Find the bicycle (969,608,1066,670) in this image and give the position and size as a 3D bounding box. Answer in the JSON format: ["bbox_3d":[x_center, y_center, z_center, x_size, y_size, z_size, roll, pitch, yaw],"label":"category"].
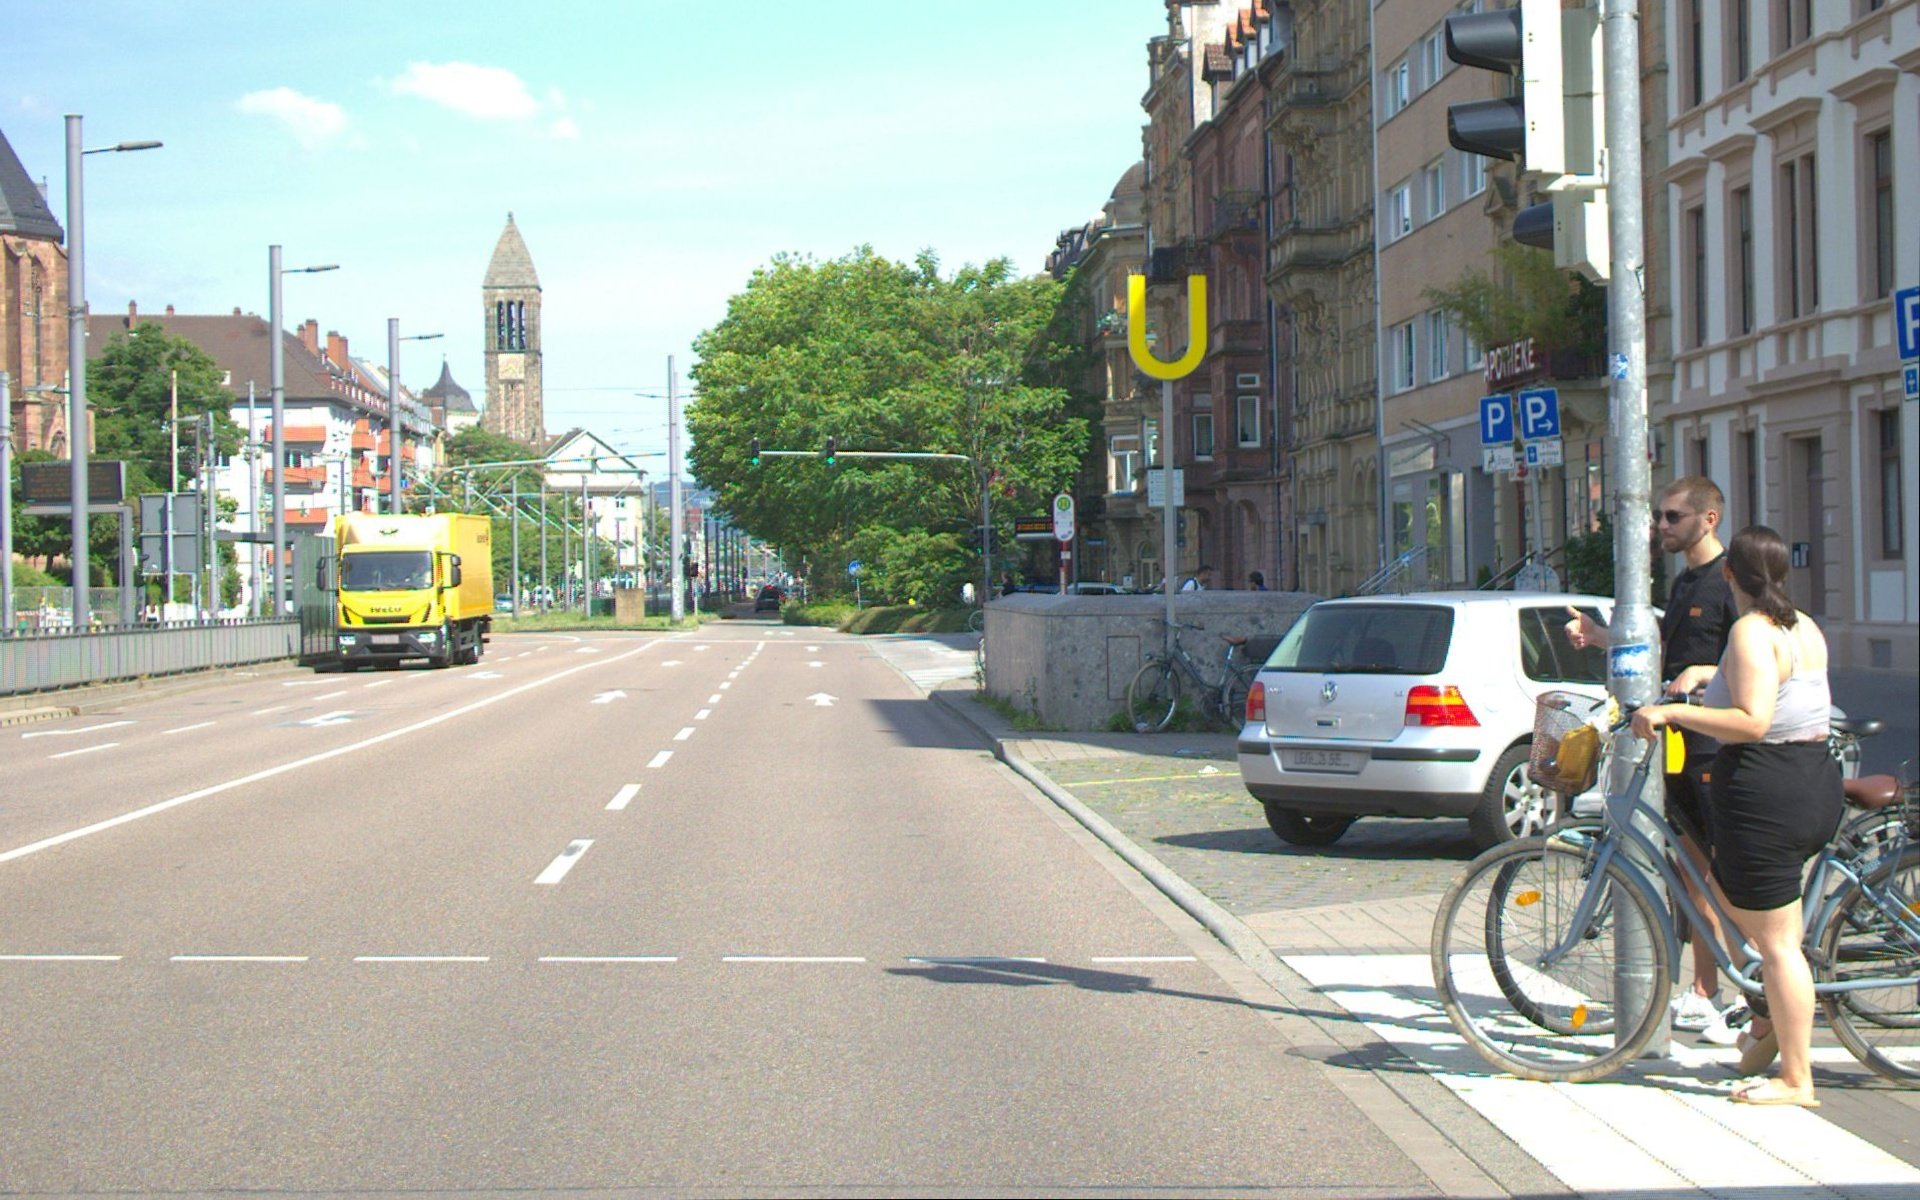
[{"bbox_3d":[0.893,0.608,53.389,1.460,0.943,0.415,-1,-1,-2],"label":"bicycle"}]

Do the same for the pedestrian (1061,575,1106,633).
[{"bbox_3d":[2.893,0.088,80.712,0.947,1.320,0.823,-1,0,-5],"label":"pedestrian"}]

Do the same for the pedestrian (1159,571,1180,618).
[{"bbox_3d":[6.368,-0.160,104.442,0.532,1.402,0.491,-1,3,-8],"label":"pedestrian"}]

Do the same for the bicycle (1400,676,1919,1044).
[{"bbox_3d":[2.384,0.823,11.179,1.790,1.126,0.584,0,0,-8],"label":"bicycle"}]

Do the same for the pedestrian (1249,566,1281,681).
[{"bbox_3d":[4.419,0.336,49.775,0.371,1.660,0.525,-1,0,-2],"label":"pedestrian"}]

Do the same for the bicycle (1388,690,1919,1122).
[{"bbox_3d":[2.156,0.830,9.674,1.792,1.126,0.754,0,0,15],"label":"bicycle"}]

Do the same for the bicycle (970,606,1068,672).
[{"bbox_3d":[0.907,0.599,52.942,1.460,0.972,0.415,-1,3,-2],"label":"bicycle"}]

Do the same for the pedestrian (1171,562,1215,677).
[{"bbox_3d":[3.384,0.278,49.899,0.552,1.660,0.525,-1,0,-2],"label":"pedestrian"}]

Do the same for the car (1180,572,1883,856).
[{"bbox_3d":[3.317,0.606,19.567,3.988,1.435,1.813,1,0,-41],"label":"car"}]

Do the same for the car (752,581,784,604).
[{"bbox_3d":[-12.095,-0.482,216.636,1.899,1.371,3.816,-1,0,-5],"label":"car"}]

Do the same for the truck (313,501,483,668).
[{"bbox_3d":[-12.163,-0.328,75.093,2.543,3.287,9.029,-3,0,-3],"label":"truck"}]

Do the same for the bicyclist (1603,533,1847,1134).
[{"bbox_3d":[2.102,0.610,9.399,0.611,1.567,0.732,0,0,15],"label":"bicyclist"}]

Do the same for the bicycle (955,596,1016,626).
[{"bbox_3d":[0.781,0.344,105.779,1.818,0.860,0.483,-1,3,-17],"label":"bicycle"}]

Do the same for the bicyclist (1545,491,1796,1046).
[{"bbox_3d":[2.273,0.523,11.036,0.615,1.729,0.584,0,0,-8],"label":"bicyclist"}]

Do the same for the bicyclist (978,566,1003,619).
[{"bbox_3d":[0.945,-0.236,105.808,0.639,1.586,0.483,-1,2,-17],"label":"bicyclist"}]

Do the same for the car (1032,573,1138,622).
[{"bbox_3d":[4.822,-0.111,132.979,3.987,1.743,2.000,-1,3,-1],"label":"car"}]

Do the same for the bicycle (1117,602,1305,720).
[{"bbox_3d":[2.424,0.589,33.341,1.742,1.090,0.597,-1,1,-2],"label":"bicycle"}]
